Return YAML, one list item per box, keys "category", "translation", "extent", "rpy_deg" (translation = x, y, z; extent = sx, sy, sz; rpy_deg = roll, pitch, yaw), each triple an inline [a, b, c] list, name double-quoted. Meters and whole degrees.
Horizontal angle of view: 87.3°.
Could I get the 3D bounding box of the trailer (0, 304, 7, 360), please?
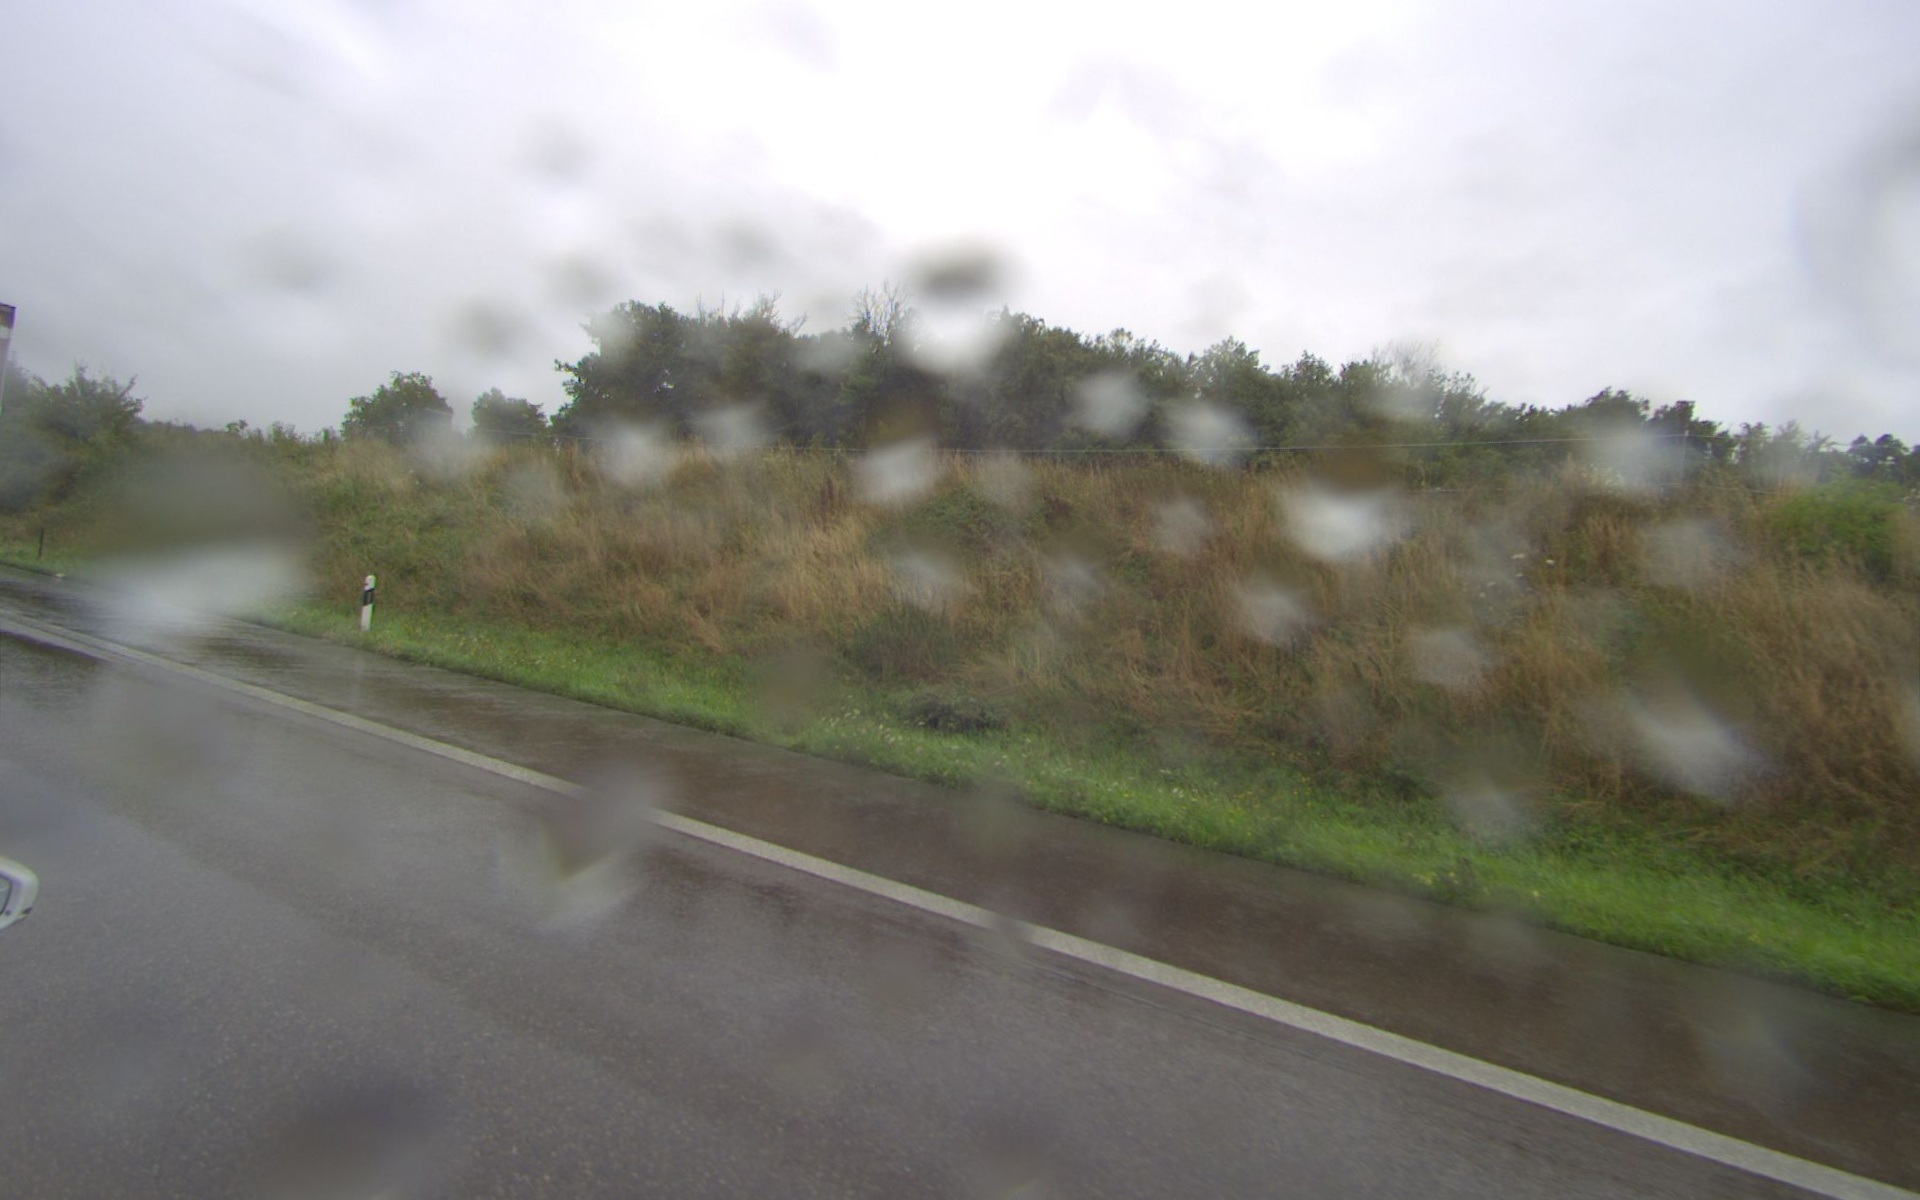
- category: "trailer"
  translation: [-19.973, -2.830, 16.348]
  extent: [14.386, 4.061, 2.635]
  rpy_deg: [7, -1, 32]
